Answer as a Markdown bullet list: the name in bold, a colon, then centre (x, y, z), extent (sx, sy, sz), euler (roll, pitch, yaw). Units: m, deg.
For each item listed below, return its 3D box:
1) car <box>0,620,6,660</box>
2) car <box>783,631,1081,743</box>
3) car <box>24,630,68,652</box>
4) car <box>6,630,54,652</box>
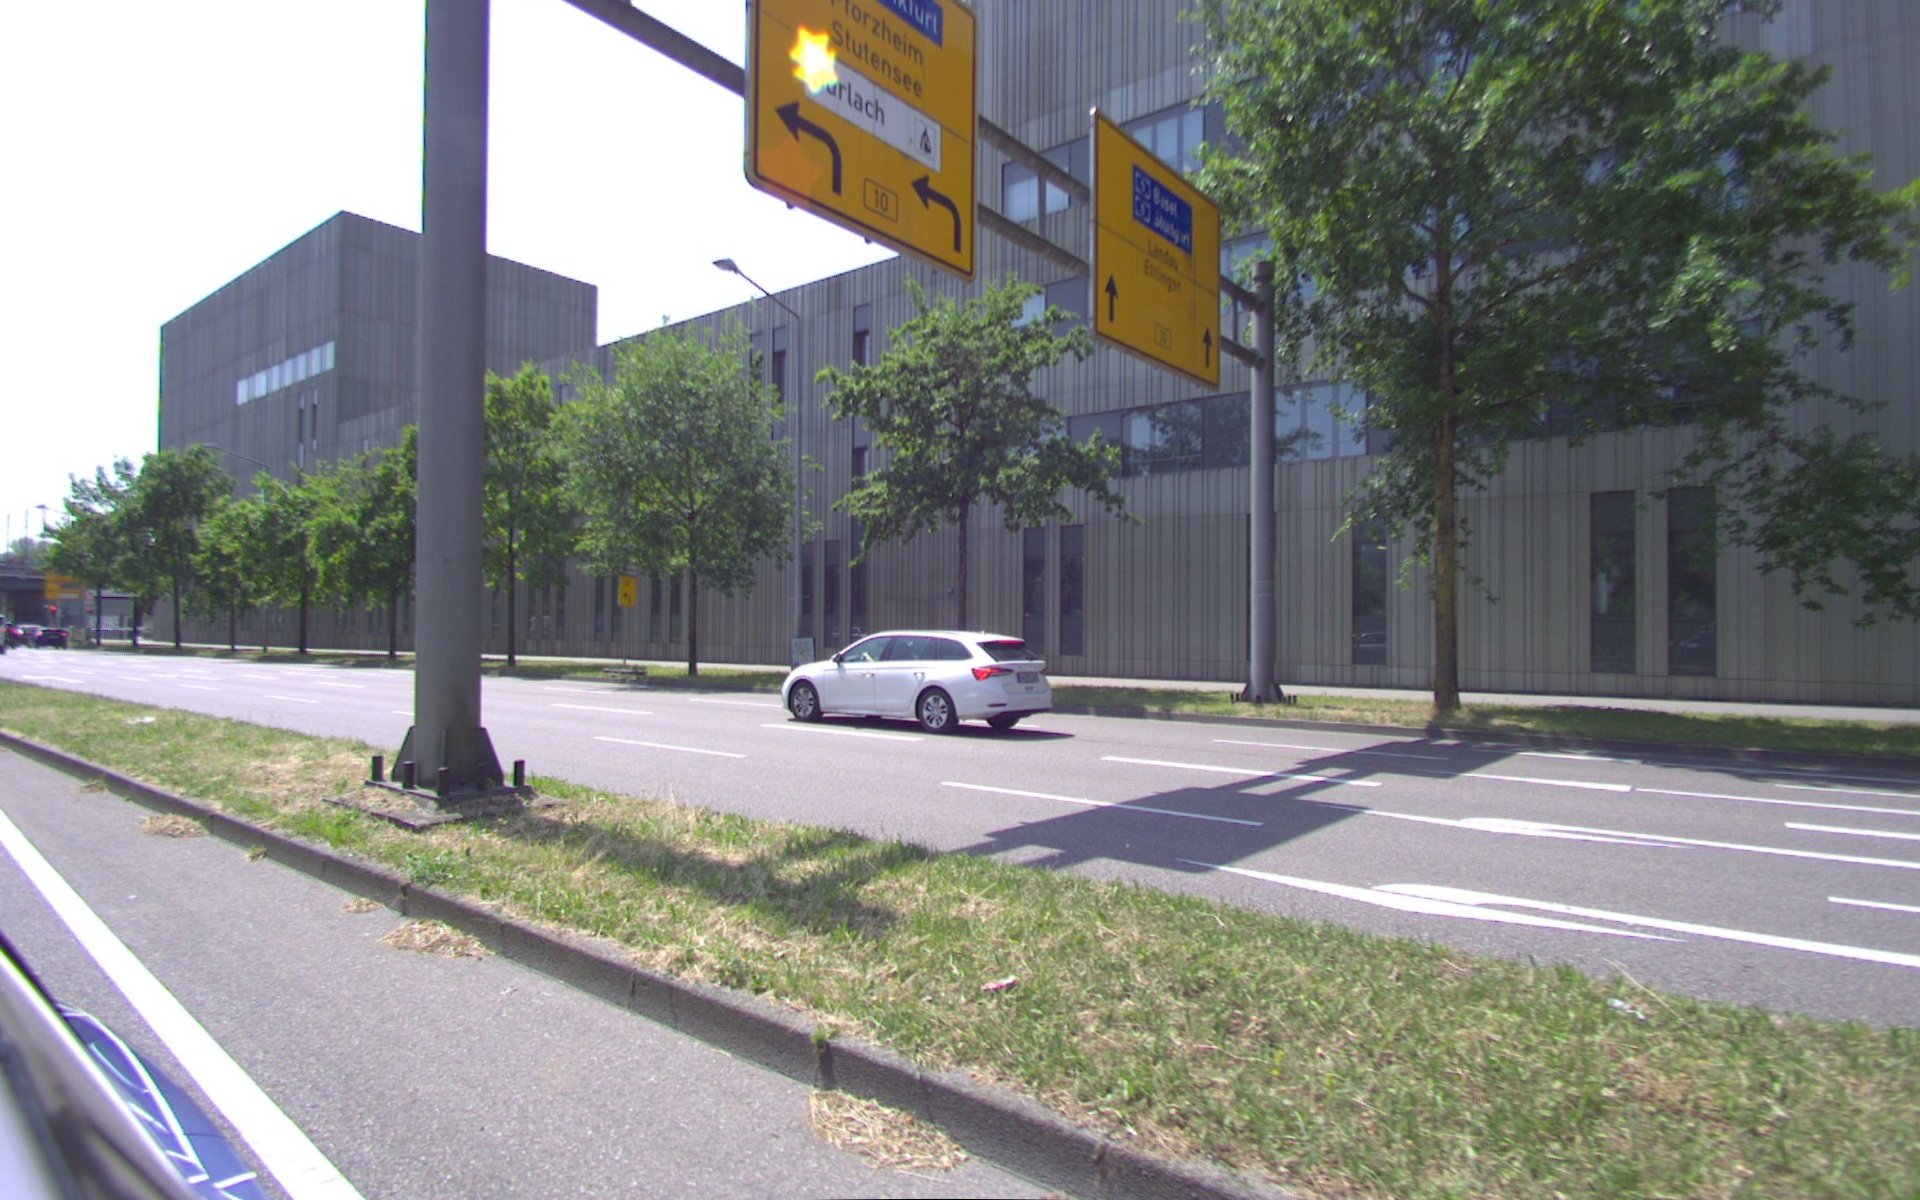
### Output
- **car**: centre (-50.656, 2.000, 51.809), extent (4.891, 2.008, 1.891), euler (-1, -3, 38)
- **car**: centre (-0.511, 1.205, 15.200), extent (4.353, 1.438, 1.793), euler (-1, -3, 38)
- **car**: centre (-62.094, 2.789, 68.734), extent (4.013, 1.467, 1.604), euler (-2, -4, 39)
- **car**: centre (-66.282, 2.901, 72.105), extent (4.364, 1.555, 1.793), euler (-1, -2, 38)
